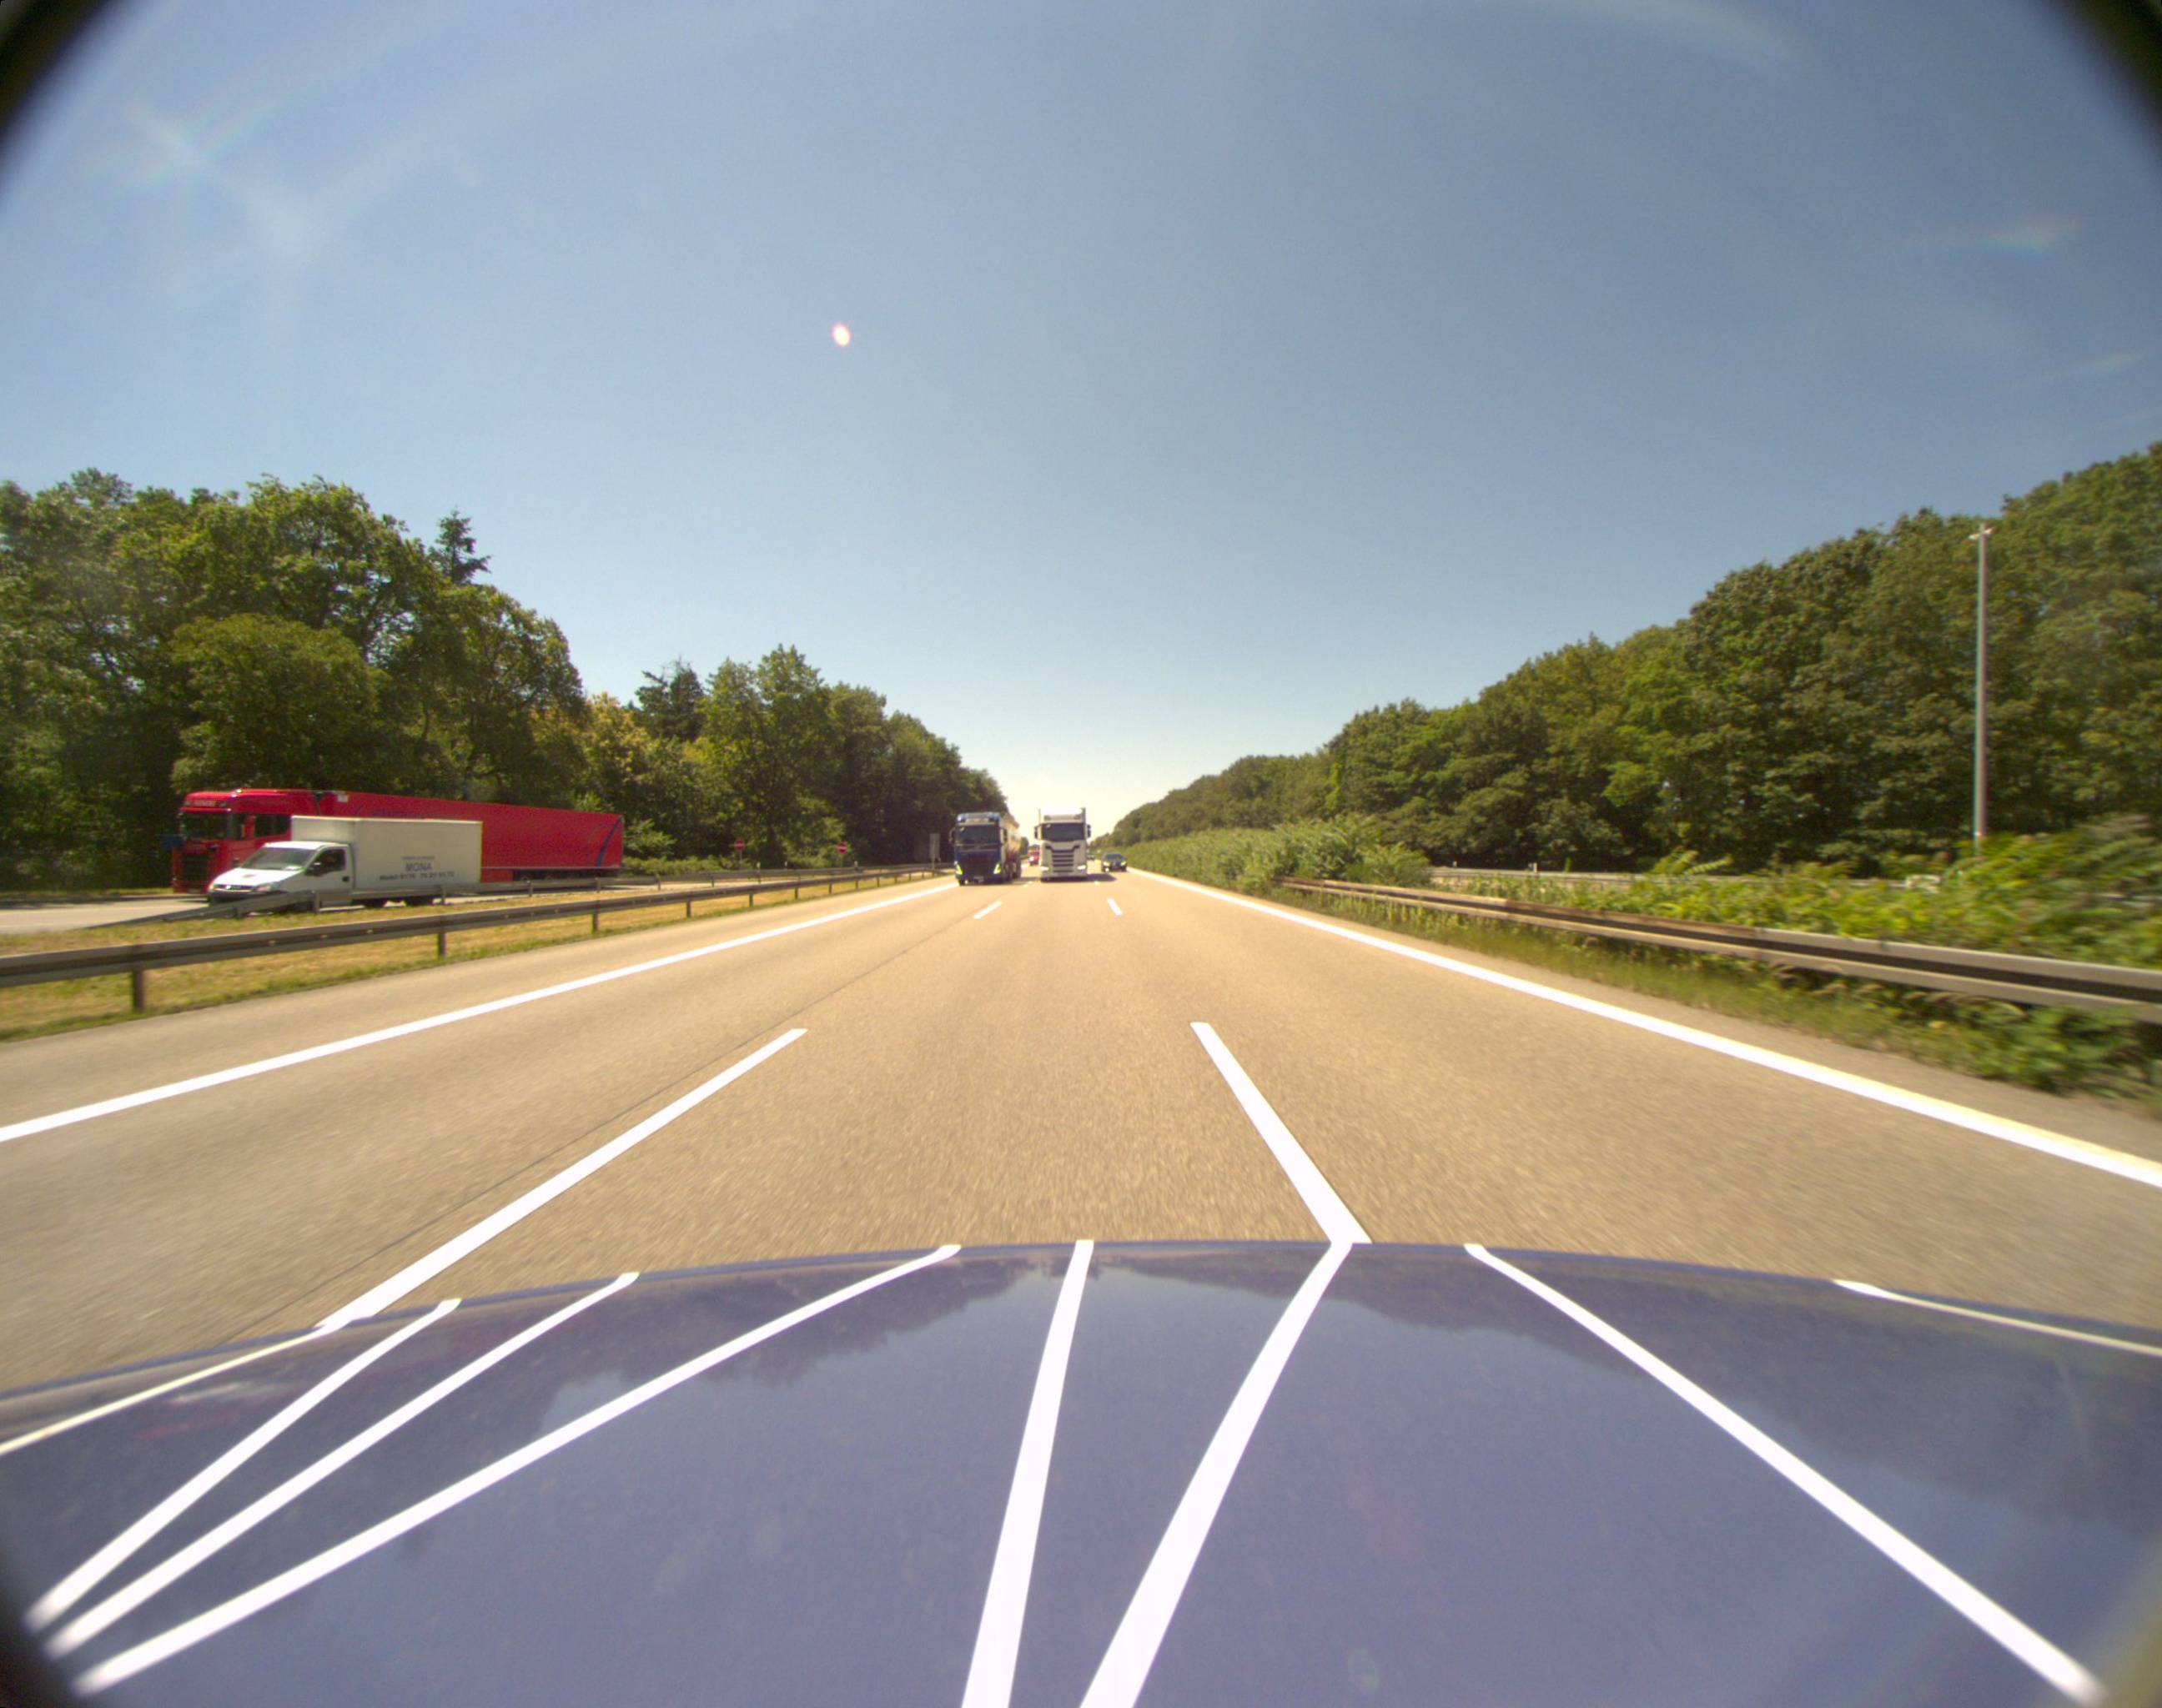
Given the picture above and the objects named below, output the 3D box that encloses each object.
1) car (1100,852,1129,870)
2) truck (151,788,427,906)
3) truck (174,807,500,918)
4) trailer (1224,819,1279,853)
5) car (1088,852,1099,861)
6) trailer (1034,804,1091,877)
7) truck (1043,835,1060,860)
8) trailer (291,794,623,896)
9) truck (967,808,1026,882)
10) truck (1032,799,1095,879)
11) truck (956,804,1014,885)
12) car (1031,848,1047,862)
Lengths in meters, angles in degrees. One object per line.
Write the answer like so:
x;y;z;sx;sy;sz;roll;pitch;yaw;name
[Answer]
2.562;0.504;58.859;1.887;1.341;4.466;-1;0;-1;car
-28.921;-0.275;28.268;2.984;3.859;6.421;0;1;10;truck
-22.717;0.198;24.029;2.474;2.929;7.659;-1;1;2;truck
19.208;-1.944;86.598;2.971;3.549;13.430;-1;1;-1;trailer
2.145;0.395;135.005;1.887;1.634;4.000;-1;0;0;car
-1.230;-0.763;49.565;3.232;4.119;12.348;-1;0;-2;trailer
-5.176;-1.094;131.717;2.798;4.180;4.998;0;1;-4;truck
-27.594;-0.387;35.214;2.984;3.855;12.898;0;0;11;trailer
-5.032;-0.555;46.953;2.449;4.020;10.540;-1;1;0;truck
-0.979;-0.762;41.740;3.237;4.133;4.558;-1;0;-2;truck
-5.013;-0.497;40.361;2.455;4.014;4.071;-1;1;0;truck
-5.318;0.092;96.622;1.715;1.669;4.000;-2;0;1;car
